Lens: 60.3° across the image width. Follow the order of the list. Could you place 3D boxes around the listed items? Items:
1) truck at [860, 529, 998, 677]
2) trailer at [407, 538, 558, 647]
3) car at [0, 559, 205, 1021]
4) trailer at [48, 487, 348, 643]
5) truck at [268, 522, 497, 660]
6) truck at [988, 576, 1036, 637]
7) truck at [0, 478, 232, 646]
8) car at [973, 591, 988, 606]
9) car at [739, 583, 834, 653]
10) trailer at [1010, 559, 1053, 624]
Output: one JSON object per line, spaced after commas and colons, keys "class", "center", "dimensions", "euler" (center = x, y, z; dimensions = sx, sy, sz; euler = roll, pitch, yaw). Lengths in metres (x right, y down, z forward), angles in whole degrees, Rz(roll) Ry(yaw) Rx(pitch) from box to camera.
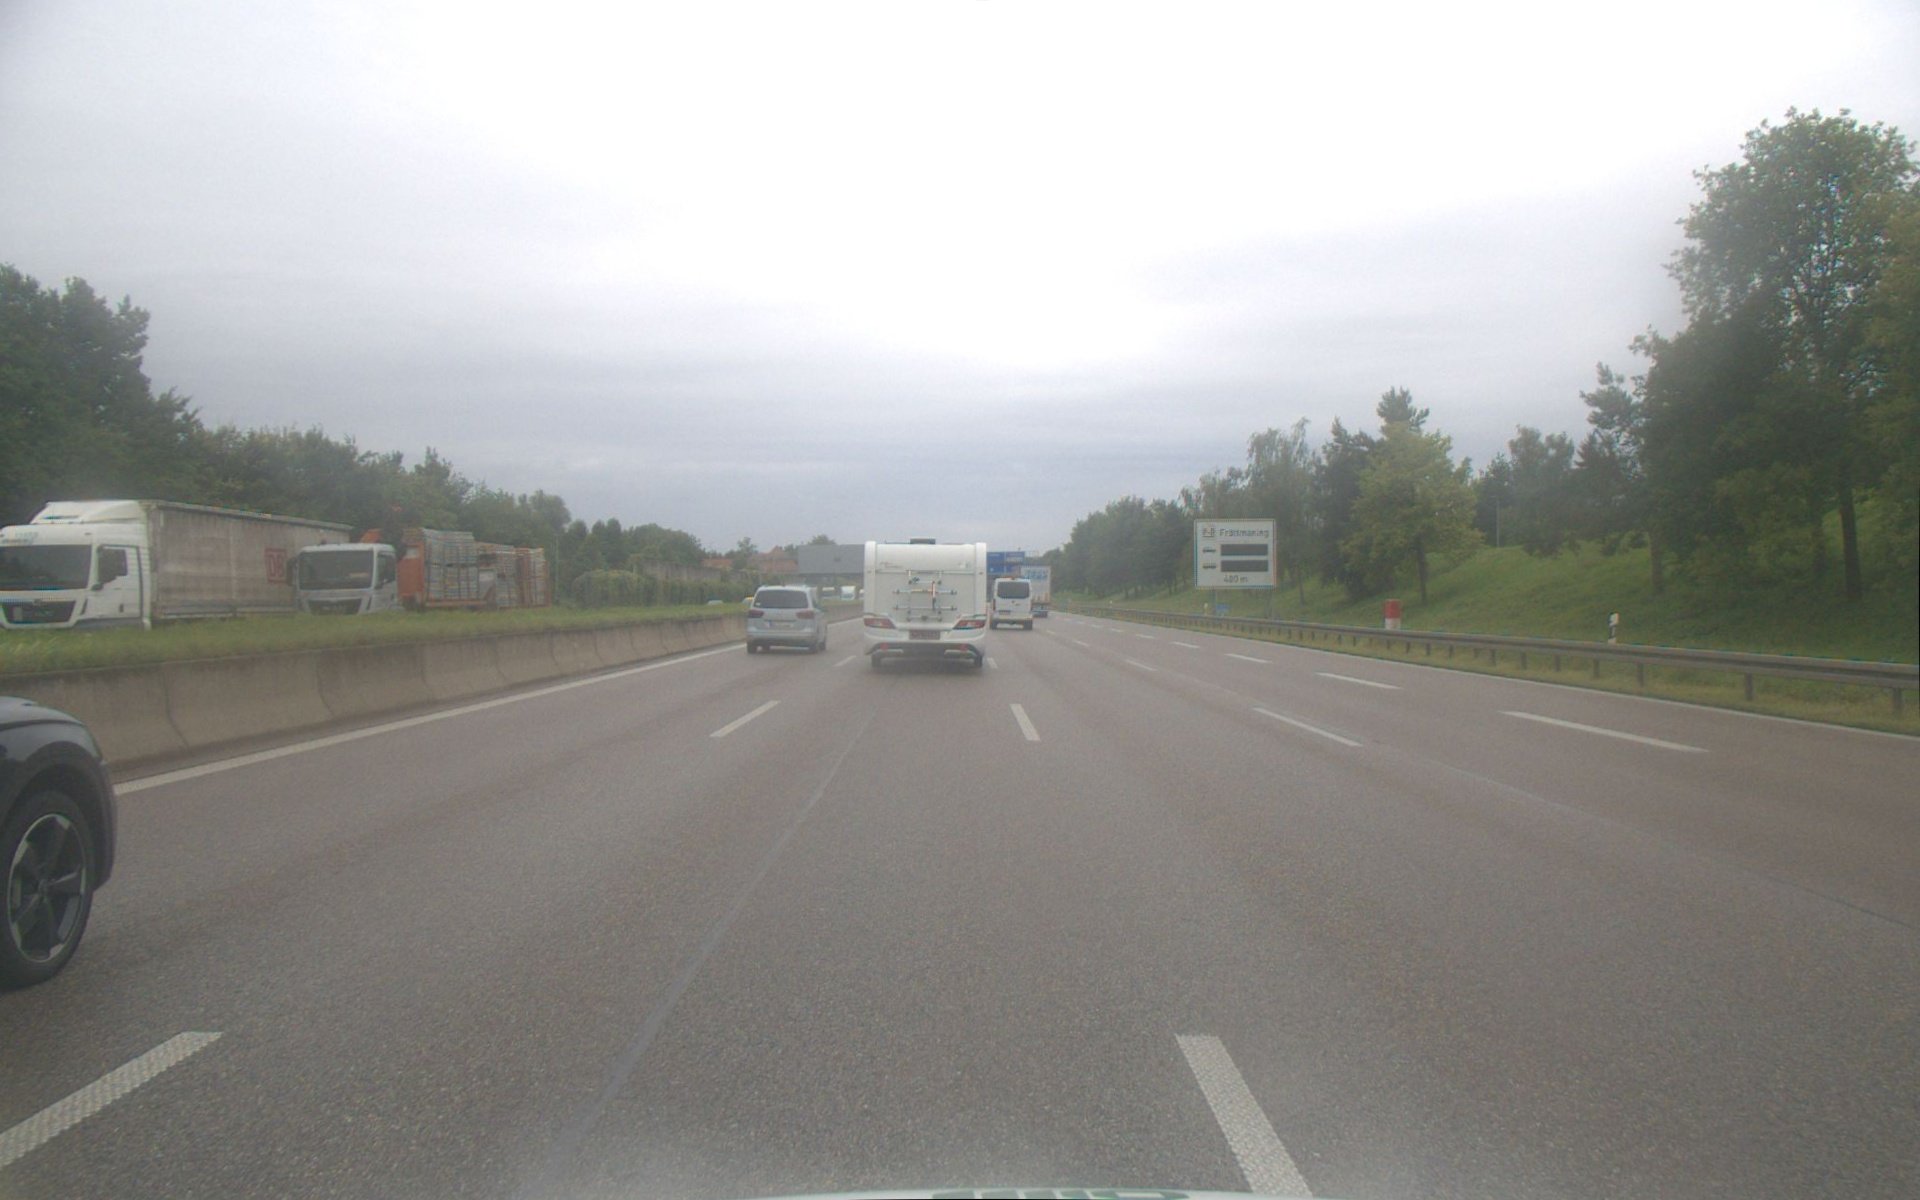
{"class": "truck", "center": [-0.631, 0.066, 34.318], "dimensions": [2.607, 2.790, 5.076], "euler": [1, 0, -1]}
{"class": "trailer", "center": [-16.611, -0.230, 58.241], "dimensions": [2.871, 3.519, 8.319], "euler": [1, 0, 0]}
{"class": "car", "center": [-4.334, 0.649, 4.816], "dimensions": [1.953, 1.628, 5.122], "euler": [1, 0, -1]}
{"class": "trailer", "center": [-20.115, -0.798, 44.841], "dimensions": [2.631, 3.602, 11.869], "euler": [1, 0, 0]}
{"class": "truck", "center": [-16.488, -0.216, 48.365], "dimensions": [2.891, 3.527, 11.182], "euler": [1, 0, -1]}
{"class": "truck", "center": [2.500, 0.307, 80.405], "dimensions": [2.011, 2.818, 5.547], "euler": [1, 0, -1]}
{"class": "truck", "center": [-20.076, -0.808, 39.292], "dimensions": [2.612, 3.613, 6.759], "euler": [1, 0, -1]}
{"class": "car", "center": [2.889, -0.257, 232.883], "dimensions": [1.952, 2.049, 4.000], "euler": [1, 0, 0]}
{"class": "car", "center": [-4.478, 0.452, 43.275], "dimensions": [2.084, 1.736, 4.112], "euler": [0, 0, -1]}
{"class": "trailer", "center": [5.803, -0.642, 135.416], "dimensions": [3.036, 5.008, 11.790], "euler": [1, 0, 0]}
